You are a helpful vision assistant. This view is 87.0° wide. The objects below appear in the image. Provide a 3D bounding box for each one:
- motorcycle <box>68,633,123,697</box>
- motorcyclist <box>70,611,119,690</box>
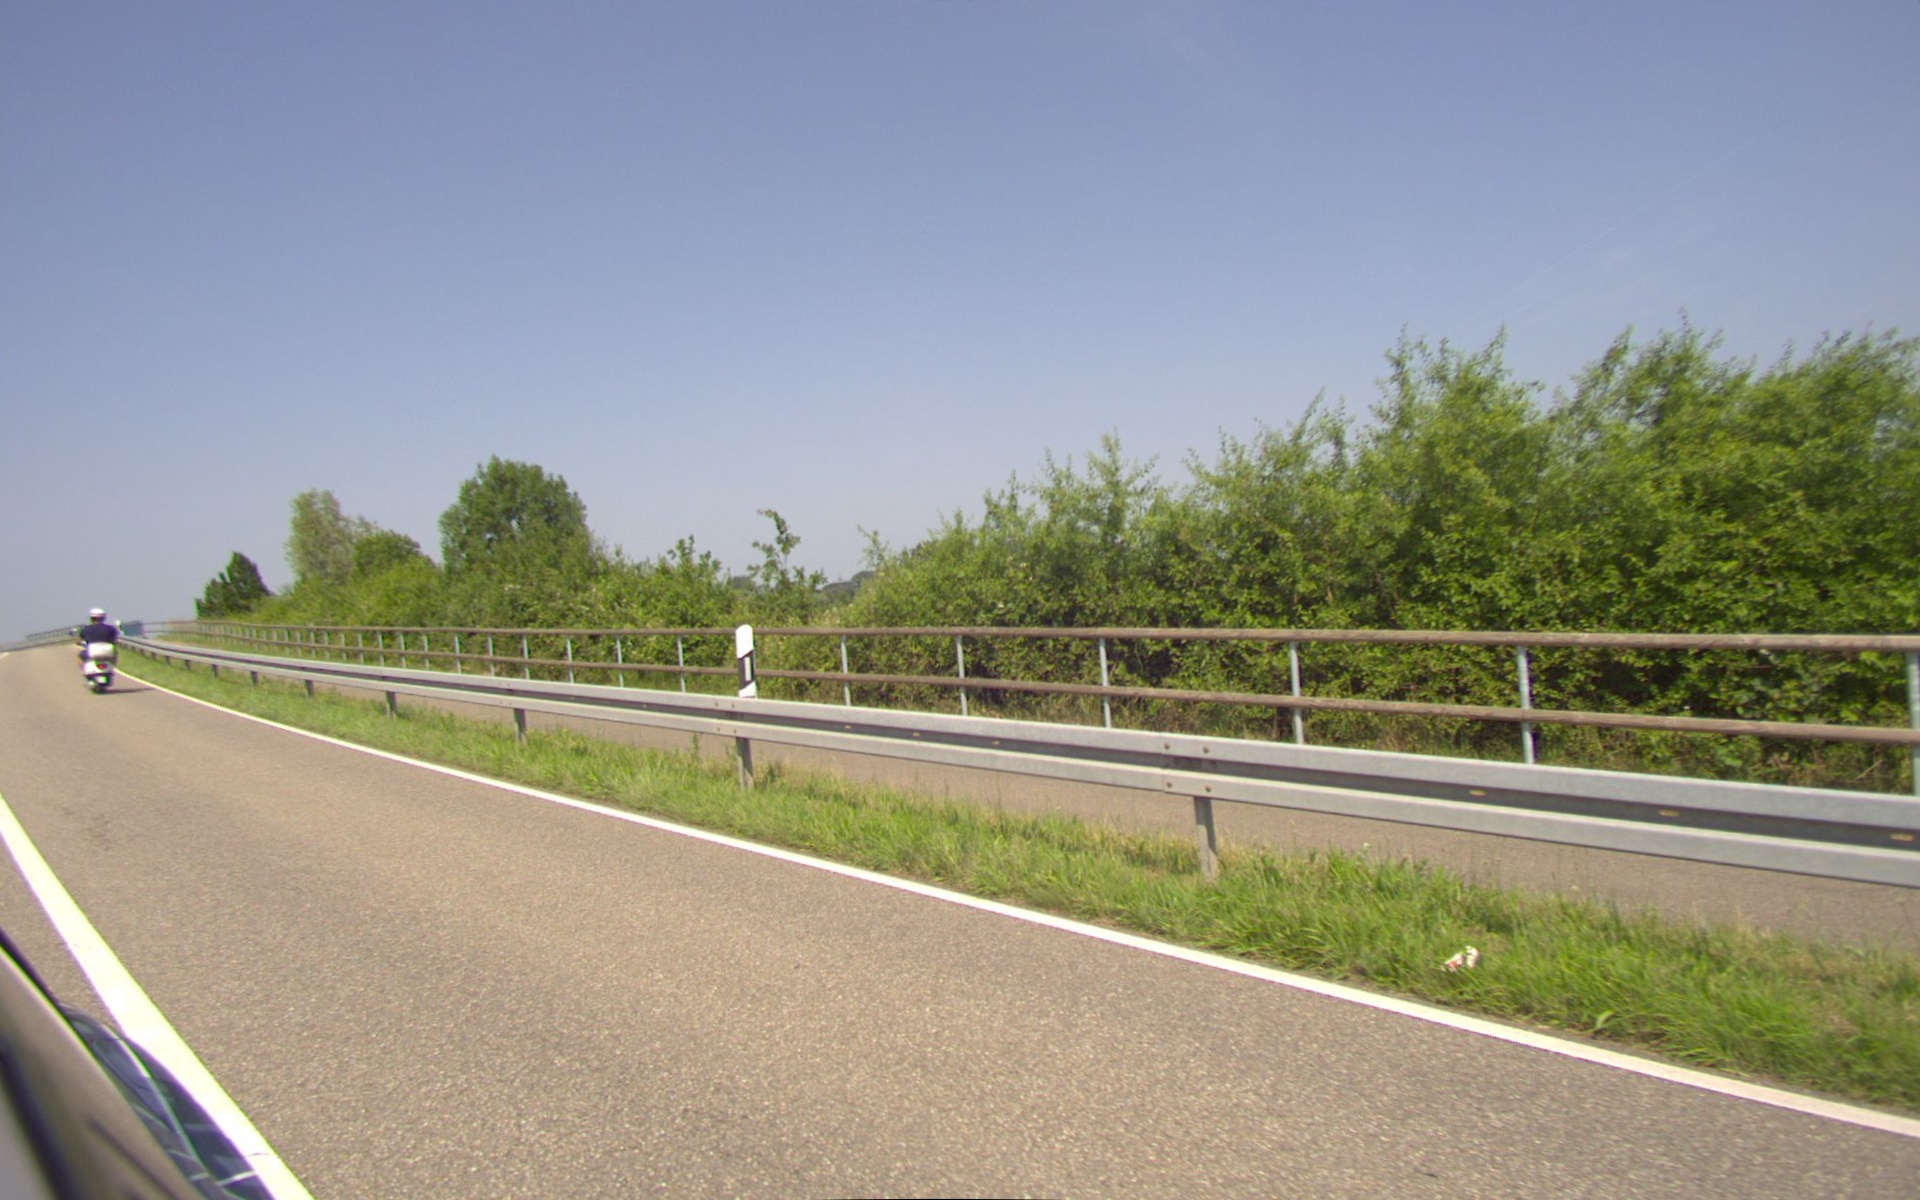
[{"bbox_3d":[-17.576,1.304,20.565,1.638,1.233,0.636,-2,-1,42],"label":"motorcycle"},{"bbox_3d":[-17.575,1.010,20.547,0.775,1.574,0.647,-2,-1,41],"label":"motorcyclist"}]
